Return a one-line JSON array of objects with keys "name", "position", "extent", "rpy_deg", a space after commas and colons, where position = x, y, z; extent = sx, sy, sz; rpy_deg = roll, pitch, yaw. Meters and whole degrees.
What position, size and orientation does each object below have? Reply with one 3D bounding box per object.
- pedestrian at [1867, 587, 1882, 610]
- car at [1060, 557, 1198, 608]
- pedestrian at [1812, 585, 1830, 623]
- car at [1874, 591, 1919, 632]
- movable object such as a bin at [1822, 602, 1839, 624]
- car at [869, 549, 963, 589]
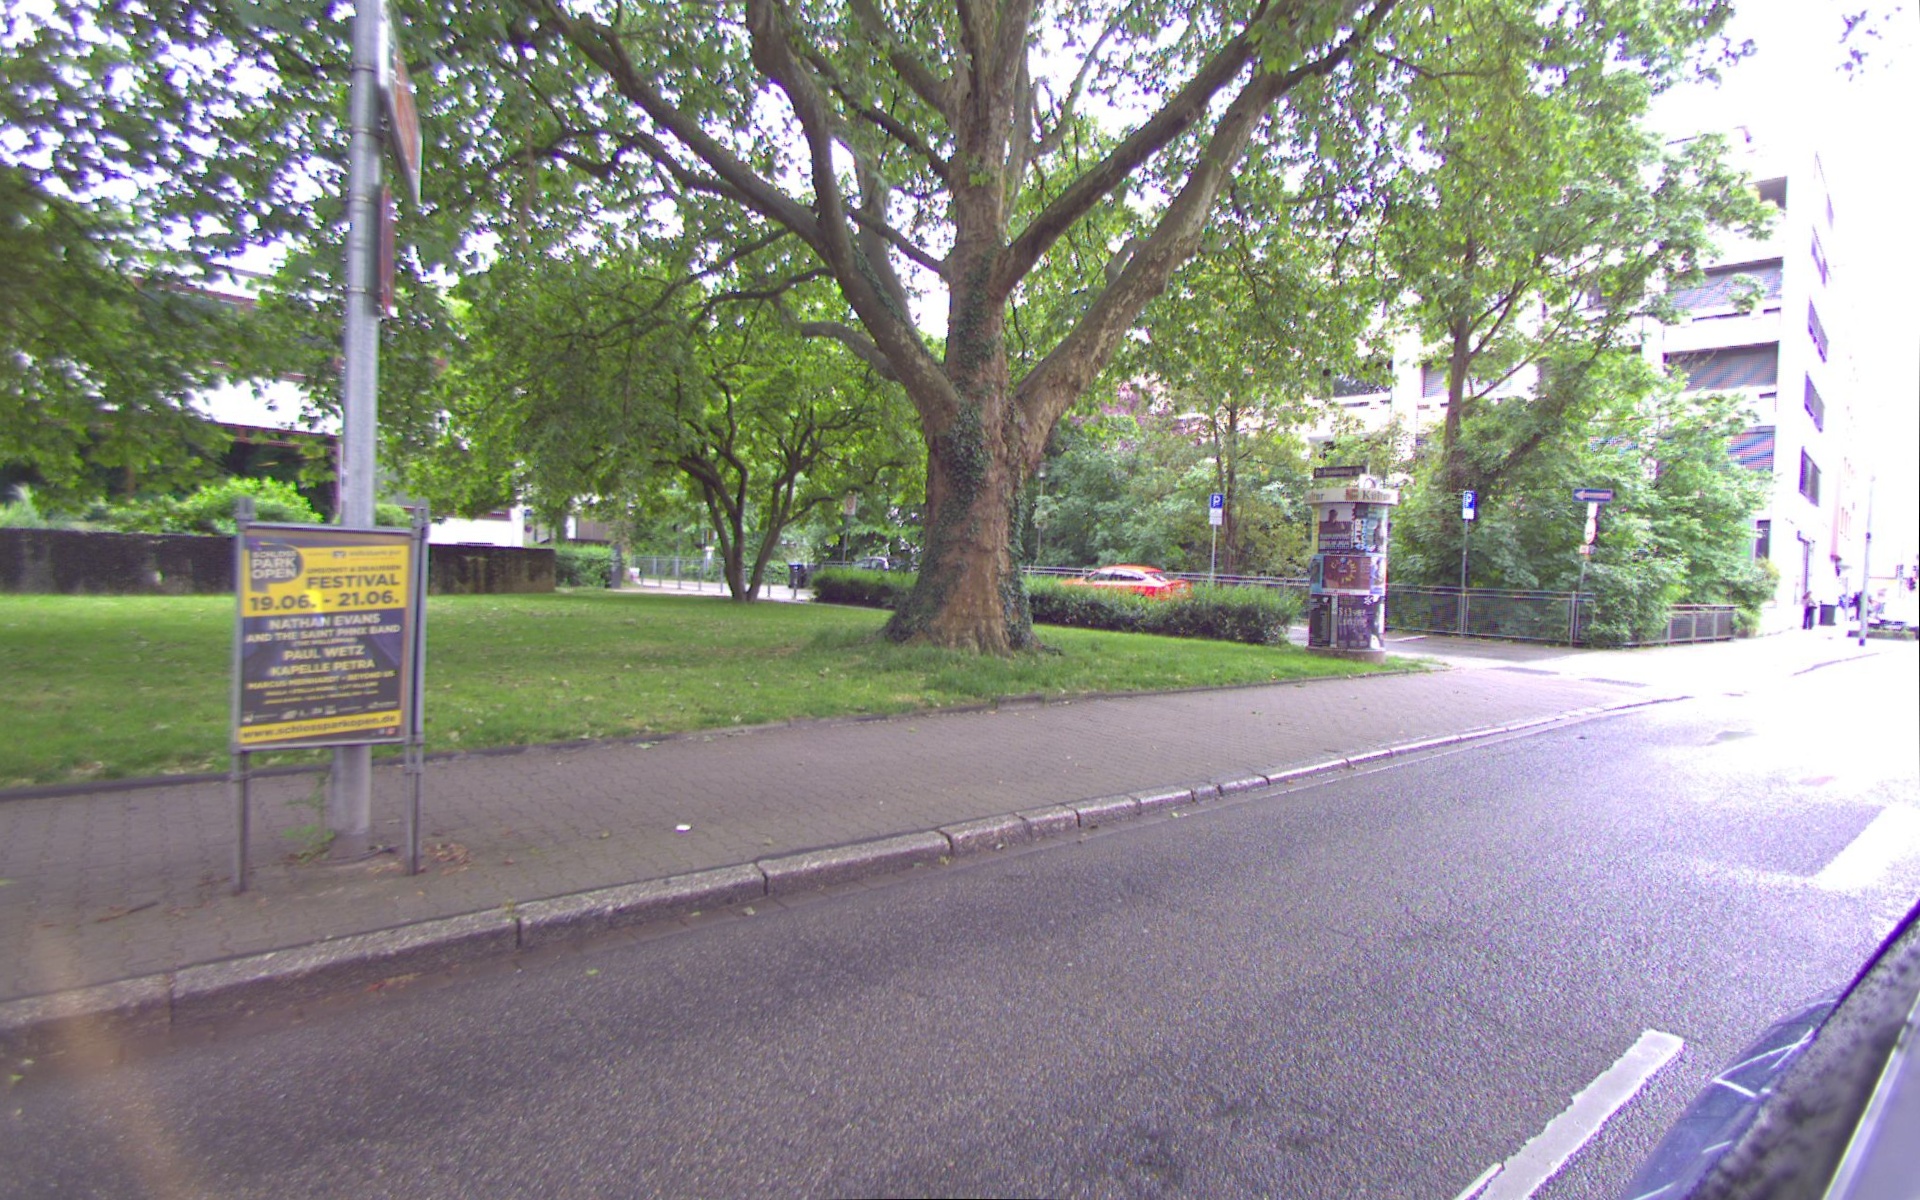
[{"name": "pedestrian", "position": [55.194, -0.095, 61.088], "extent": [0.495, 1.392, 0.557], "rpy_deg": [0, 3, -41]}, {"name": "car", "position": [4.868, -0.538, 29.525], "extent": [1.551, 1.294, 3.784], "rpy_deg": [-1, 4, -44]}, {"name": "pedestrian", "position": [35.074, 0.150, 41.230], "extent": [0.473, 1.549, 0.480], "rpy_deg": [0, 0, -41]}, {"name": "car", "position": [37.410, 0.452, 39.747], "extent": [3.617, 1.449, 1.681], "rpy_deg": [0, 6, -41]}, {"name": "movable object such as a bin", "position": [41.916, 0.616, 48.721], "extent": [0.287, 1.054, 0.556], "rpy_deg": [0, 3, -41]}, {"name": "car", "position": [-1.620, -1.136, 36.553], "extent": [3.460, 1.294, 1.426], "rpy_deg": [5, 4, 45]}]
